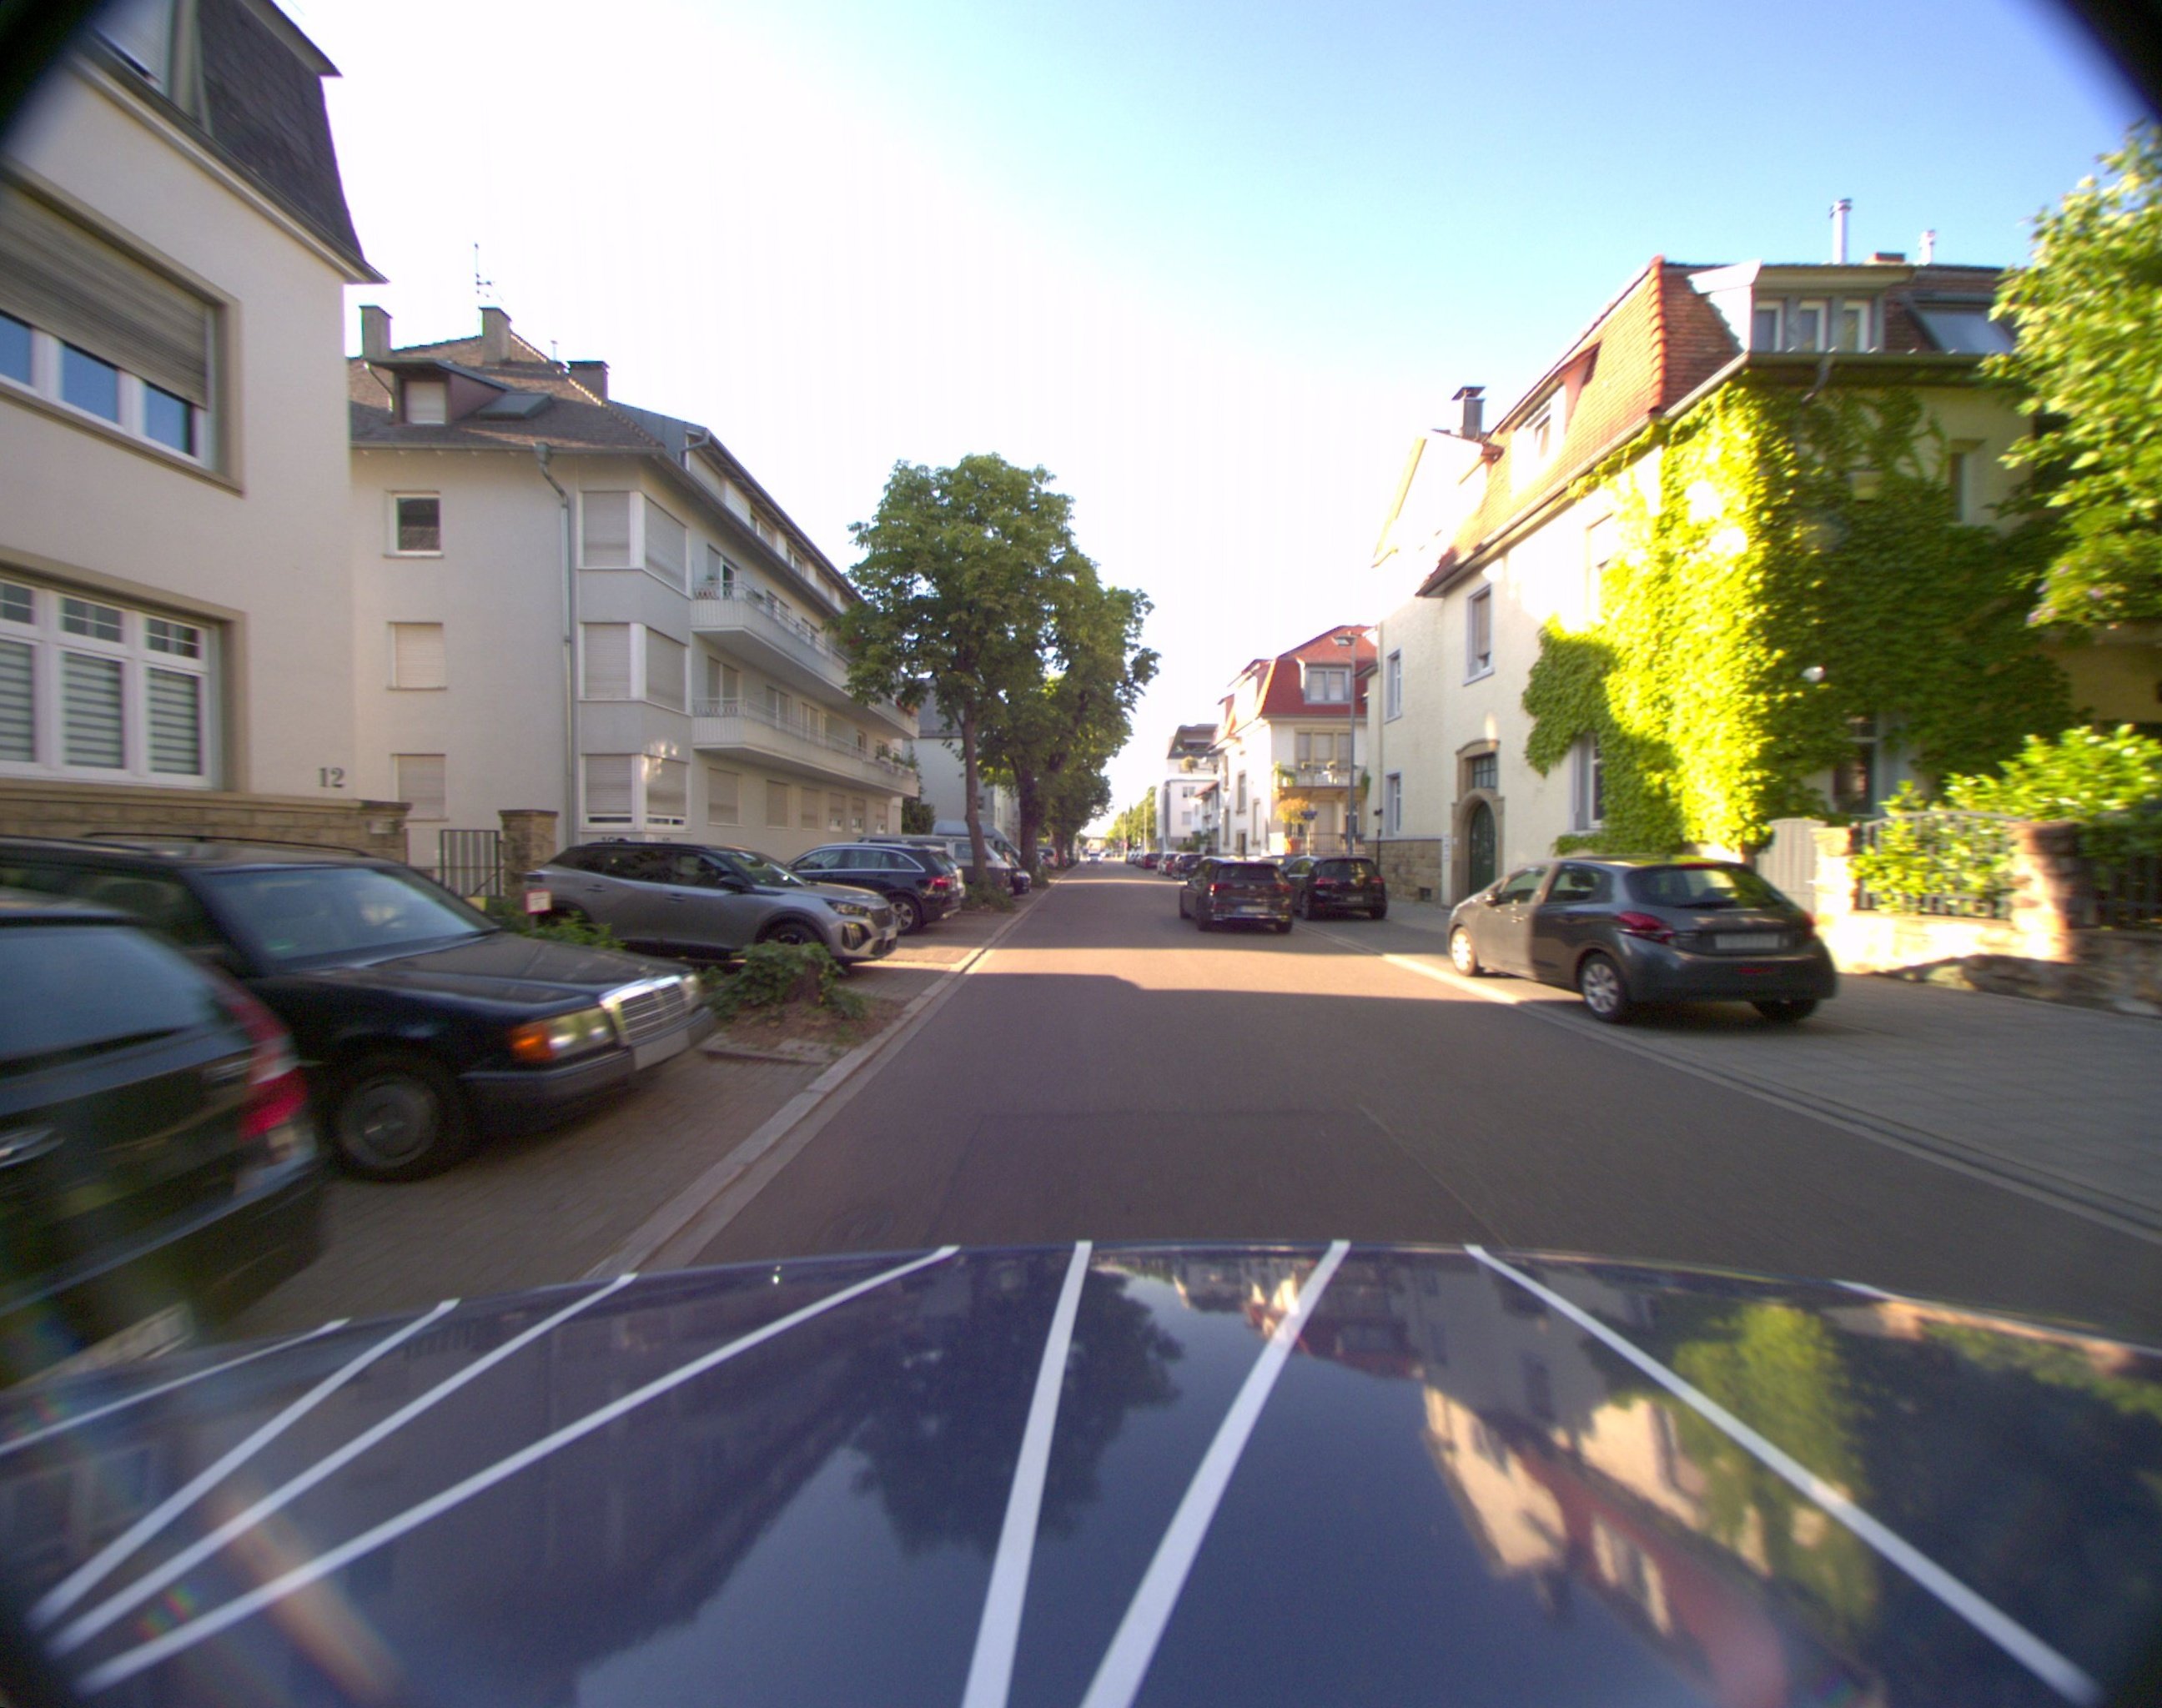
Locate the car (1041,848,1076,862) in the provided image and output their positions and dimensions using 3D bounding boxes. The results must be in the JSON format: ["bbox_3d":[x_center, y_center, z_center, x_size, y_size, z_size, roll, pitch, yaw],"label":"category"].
[{"bbox_3d":[-2.386,0.141,81.229,3.680,1.434,1.601,1,1,1],"label":"car"}]

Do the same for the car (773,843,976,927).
[{"bbox_3d":[-4.499,0.647,16.896,3.958,1.673,1.706,2,0,4],"label":"car"}]

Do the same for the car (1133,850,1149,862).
[{"bbox_3d":[7.044,0.239,89.103,1.723,1.386,3.908,-1,0,2],"label":"car"}]

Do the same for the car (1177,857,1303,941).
[{"bbox_3d":[3.107,0.817,15.612,1.776,1.440,4.000,1,0,1],"label":"car"}]

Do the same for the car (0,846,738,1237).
[{"bbox_3d":[-4.699,0.795,4.206,4.729,1.526,1.851,2,1,1],"label":"car"}]

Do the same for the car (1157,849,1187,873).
[{"bbox_3d":[6.133,0.433,51.520,1.585,1.512,3.706,-1,1,0],"label":"car"}]

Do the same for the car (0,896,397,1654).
[{"bbox_3d":[-4.230,0.865,1.585,3.996,1.483,1.851,2,1,2],"label":"car"}]

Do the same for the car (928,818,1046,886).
[{"bbox_3d":[-4.169,-0.097,34.360,5.108,2.885,2.075,1,1,-2],"label":"car"}]

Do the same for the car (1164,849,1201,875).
[{"bbox_3d":[6.225,0.466,47.086,1.586,1.468,3.705,-1,1,-3],"label":"car"}]

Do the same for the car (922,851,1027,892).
[{"bbox_3d":[-4.013,0.655,29.066,3.730,1.423,1.758,0,2,0],"label":"car"}]

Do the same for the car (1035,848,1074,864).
[{"bbox_3d":[-2.528,0.213,73.571,3.680,1.489,1.676,1,1,1],"label":"car"}]

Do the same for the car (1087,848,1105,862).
[{"bbox_3d":[1.839,0.095,92.071,2.098,1.701,4.606,0,1,2],"label":"car"}]

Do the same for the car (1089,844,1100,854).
[{"bbox_3d":[2.497,-0.949,141.234,1.913,1.679,4.198,-1,1,1],"label":"car"}]

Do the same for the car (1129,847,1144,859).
[{"bbox_3d":[6.829,-0.093,94.434,1.723,1.386,3.908,-1,0,2],"label":"car"}]

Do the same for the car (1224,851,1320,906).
[{"bbox_3d":[5.685,0.659,23.205,1.714,1.461,4.632,-1,1,-1],"label":"car"}]

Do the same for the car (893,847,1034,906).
[{"bbox_3d":[-3.606,0.667,23.663,4.188,1.714,1.764,0,1,-6],"label":"car"}]

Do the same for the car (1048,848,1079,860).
[{"bbox_3d":[-2.196,0.056,96.959,3.828,1.477,1.600,1,1,-6],"label":"car"}]

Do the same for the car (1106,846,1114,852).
[{"bbox_3d":[7.631,-1.296,200.112,1.913,1.679,4.198,-1,1,1],"label":"car"}]

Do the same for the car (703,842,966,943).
[{"bbox_3d":[-4.451,0.679,14.227,4.343,1.673,1.705,2,0,-2],"label":"car"}]

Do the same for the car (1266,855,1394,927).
[{"bbox_3d":[5.682,0.773,17.895,1.657,1.407,4.167,-1,1,0],"label":"car"}]

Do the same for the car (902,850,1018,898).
[{"bbox_3d":[-4.150,0.664,26.403,3.729,1.545,1.639,0,1,2],"label":"car"}]

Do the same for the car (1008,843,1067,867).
[{"bbox_3d":[-3.621,0.039,63.866,4.819,1.925,1.950,1,1,2],"label":"car"}]

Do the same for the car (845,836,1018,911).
[{"bbox_3d":[-4.085,0.506,21.330,4.481,2.002,1.896,0,1,-1],"label":"car"}]

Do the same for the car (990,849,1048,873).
[{"bbox_3d":[-3.880,0.442,47.936,3.411,1.419,1.759,1,1,1],"label":"car"}]

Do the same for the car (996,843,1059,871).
[{"bbox_3d":[-3.723,0.183,53.544,4.313,1.874,1.758,1,2,-2],"label":"car"}]

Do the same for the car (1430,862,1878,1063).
[{"bbox_3d":[5.321,0.858,7.841,1.657,1.438,4.005,-1,1,1],"label":"car"}]

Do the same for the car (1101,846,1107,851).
[{"bbox_3d":[7.481,-1.832,244.487,1.913,1.679,4.198,-1,1,1],"label":"car"}]

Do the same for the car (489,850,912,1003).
[{"bbox_3d":[-4.354,0.786,9.197,4.166,1.530,1.851,2,1,0],"label":"car"}]

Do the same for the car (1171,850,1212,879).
[{"bbox_3d":[6.005,0.512,41.612,1.657,1.446,4.630,-1,1,1],"label":"car"}]

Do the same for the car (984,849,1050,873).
[{"bbox_3d":[-4.249,0.441,50.862,4.313,1.532,1.758,1,1,-2],"label":"car"}]

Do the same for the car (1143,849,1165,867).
[{"bbox_3d":[6.339,0.304,66.139,1.654,1.474,3.429,-1,1,2],"label":"car"}]
